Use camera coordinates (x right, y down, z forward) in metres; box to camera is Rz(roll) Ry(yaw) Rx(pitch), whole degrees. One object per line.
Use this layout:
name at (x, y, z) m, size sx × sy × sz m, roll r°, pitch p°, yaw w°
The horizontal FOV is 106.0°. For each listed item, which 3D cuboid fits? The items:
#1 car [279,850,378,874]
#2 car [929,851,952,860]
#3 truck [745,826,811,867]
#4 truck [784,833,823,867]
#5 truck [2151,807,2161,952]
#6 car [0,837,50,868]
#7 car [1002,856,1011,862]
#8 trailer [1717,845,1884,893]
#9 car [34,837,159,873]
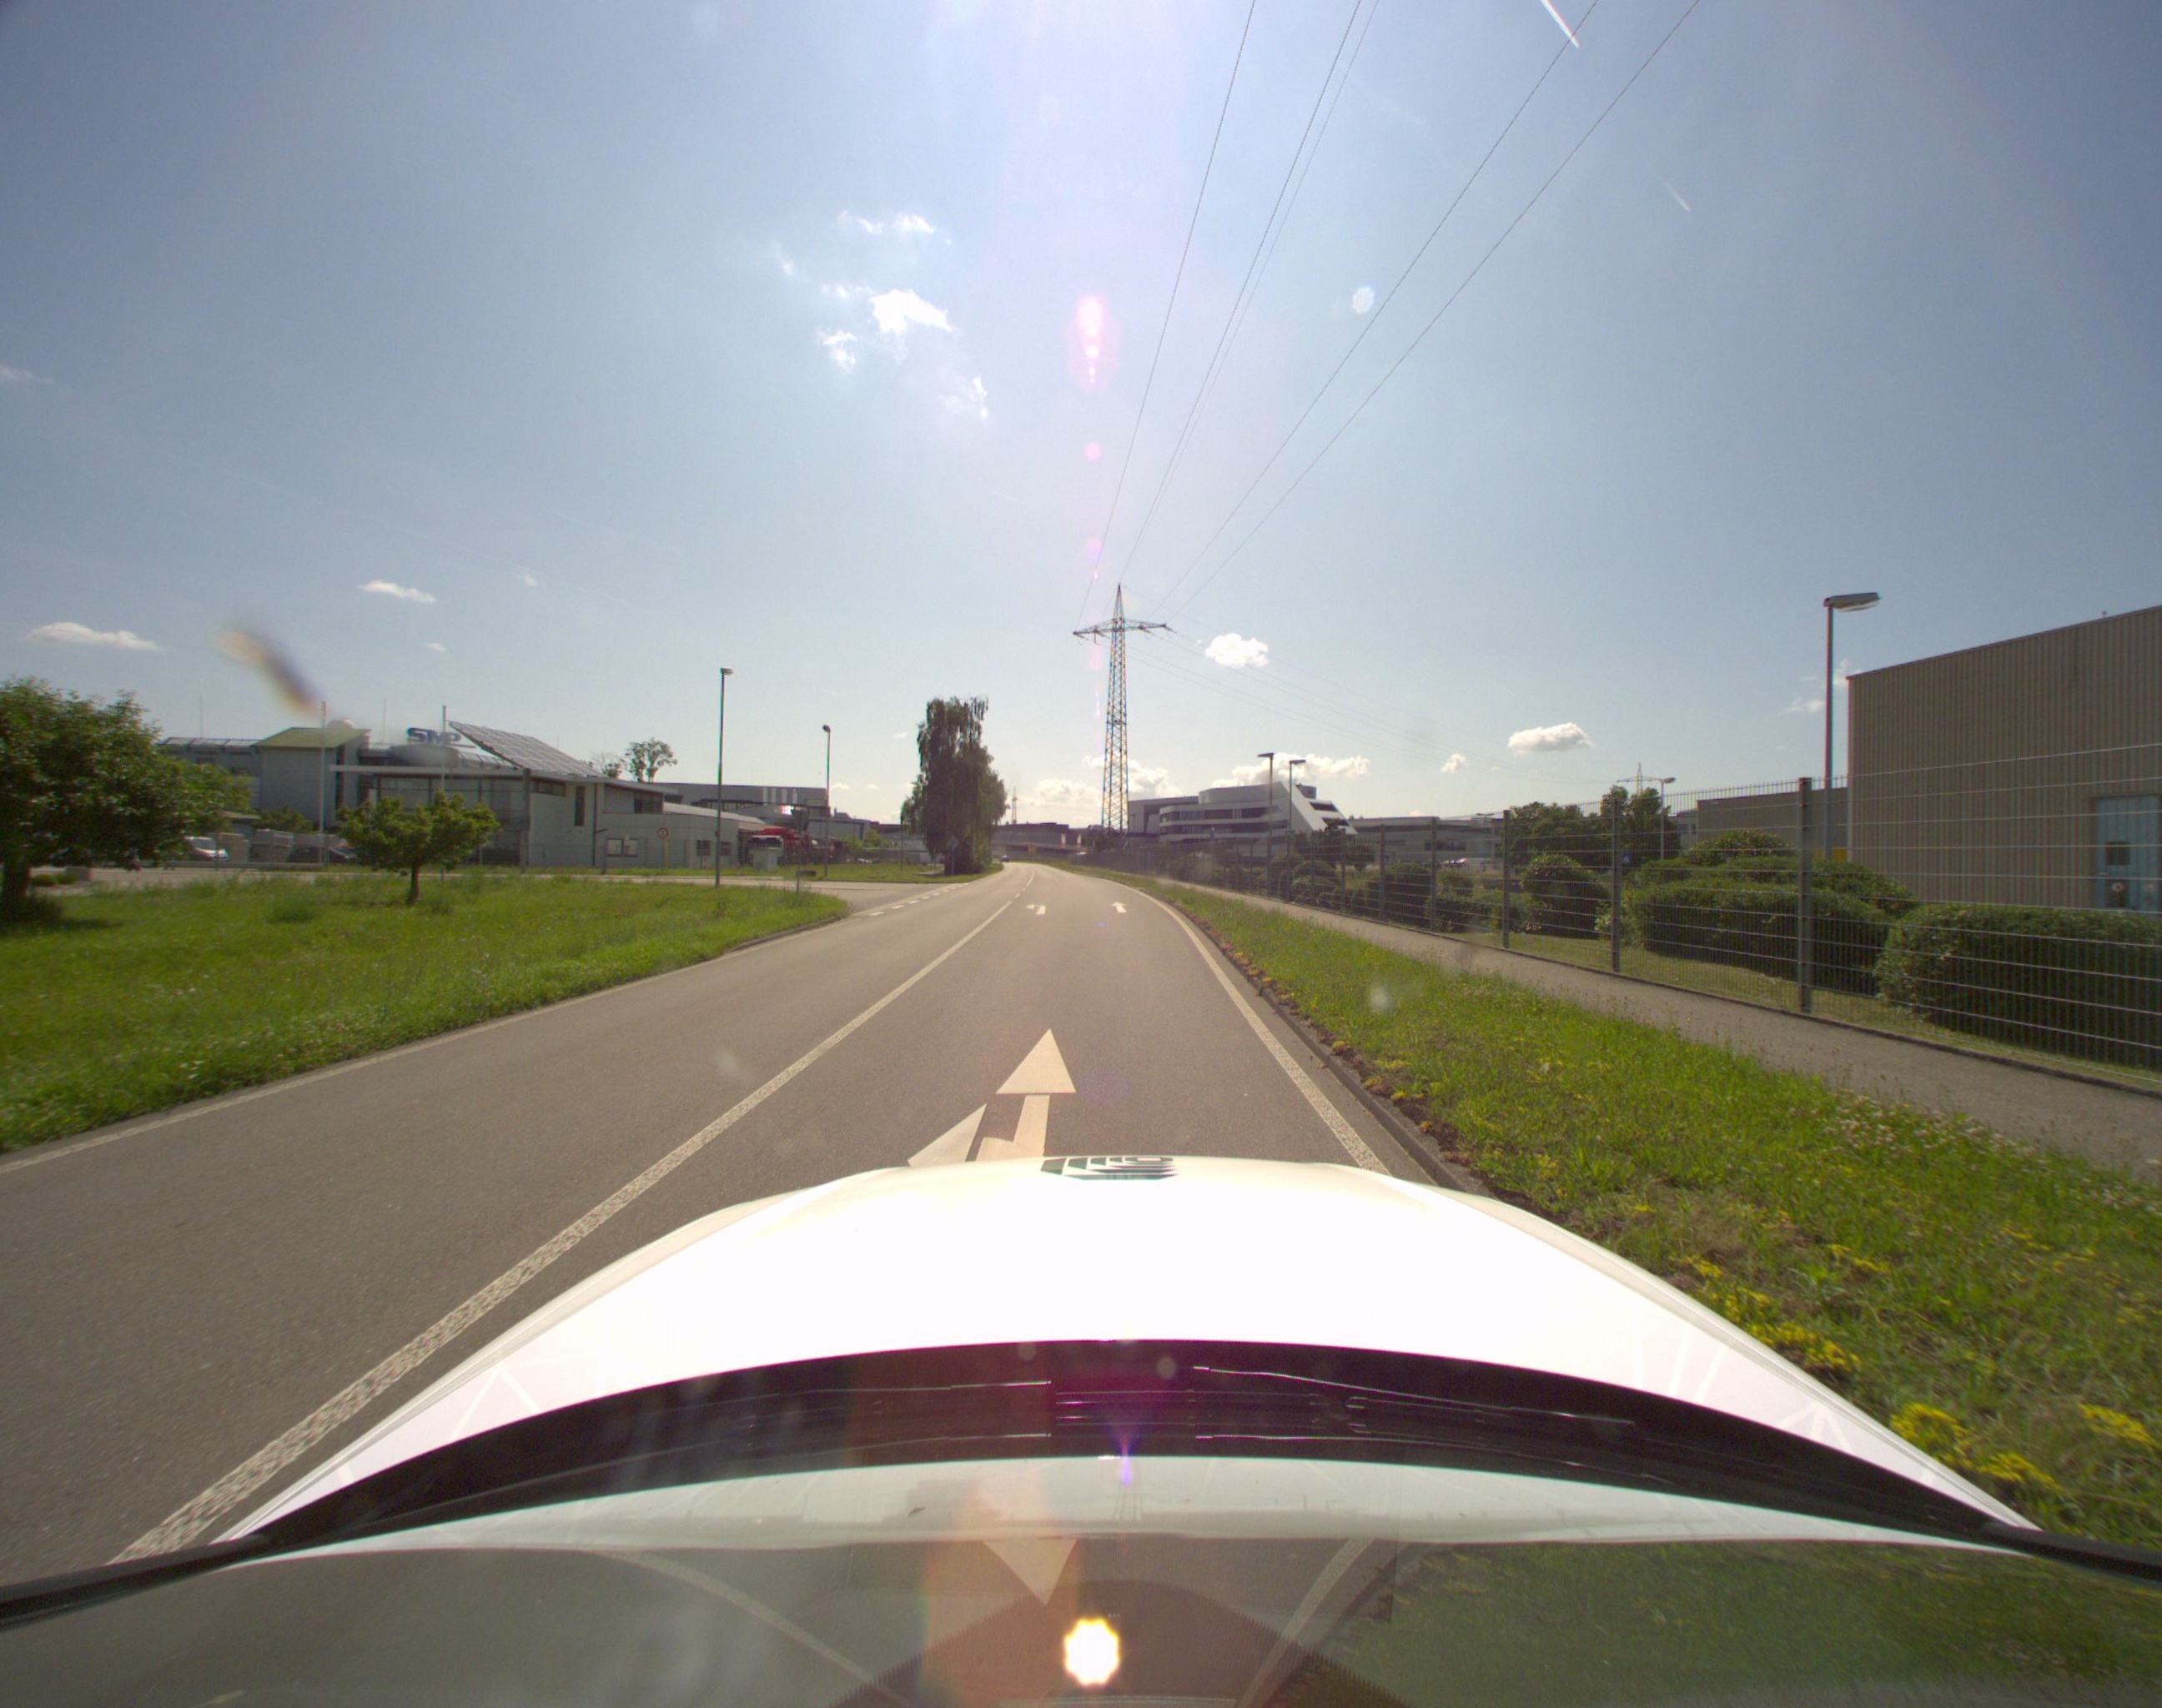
car at (-44.438, 0.466, 48.176) m, size 3.979 × 1.244 × 1.801 m, roll 1°, pitch 0°, yaw -4°
car at (-25.806, 0.220, 149.534) m, size 3.981 × 1.574 × 1.996 m, roll 1°, pitch 0°, yaw -6°
truck at (-28.041, -0.624, 76.028) m, size 2.747 × 3.559 × 10.255 m, roll 1°, pitch 0°, yaw -3°
truck at (-29.277, -0.367, 86.001) m, size 2.430 × 3.452 × 5.435 m, roll 1°, pitch 0°, yaw -3°
truck at (30.887, 0.651, 18.914) m, size 3.590 × 3.867 × 6.393 m, roll 0°, pitch 0°, yaw -7°
car at (-63.145, -0.137, 47.341) m, size 3.835 × 1.753 × 1.684 m, roll 1°, pitch 0°, yaw -7°
car at (-17.798, 1.188, 194.794) m, size 2.007 × 1.508 × 3.996 m, roll 1°, pitch 0°, yaw -2°
trailer at (62.291, 1.203, 71.208) m, size 2.910 × 3.766 × 12.742 m, roll 1°, pitch 0°, yaw -2°
car at (-58.015, 0.054, 48.145) m, size 1.993 × 2.013 × 4.728 m, roll 1°, pitch 0°, yaw -9°
